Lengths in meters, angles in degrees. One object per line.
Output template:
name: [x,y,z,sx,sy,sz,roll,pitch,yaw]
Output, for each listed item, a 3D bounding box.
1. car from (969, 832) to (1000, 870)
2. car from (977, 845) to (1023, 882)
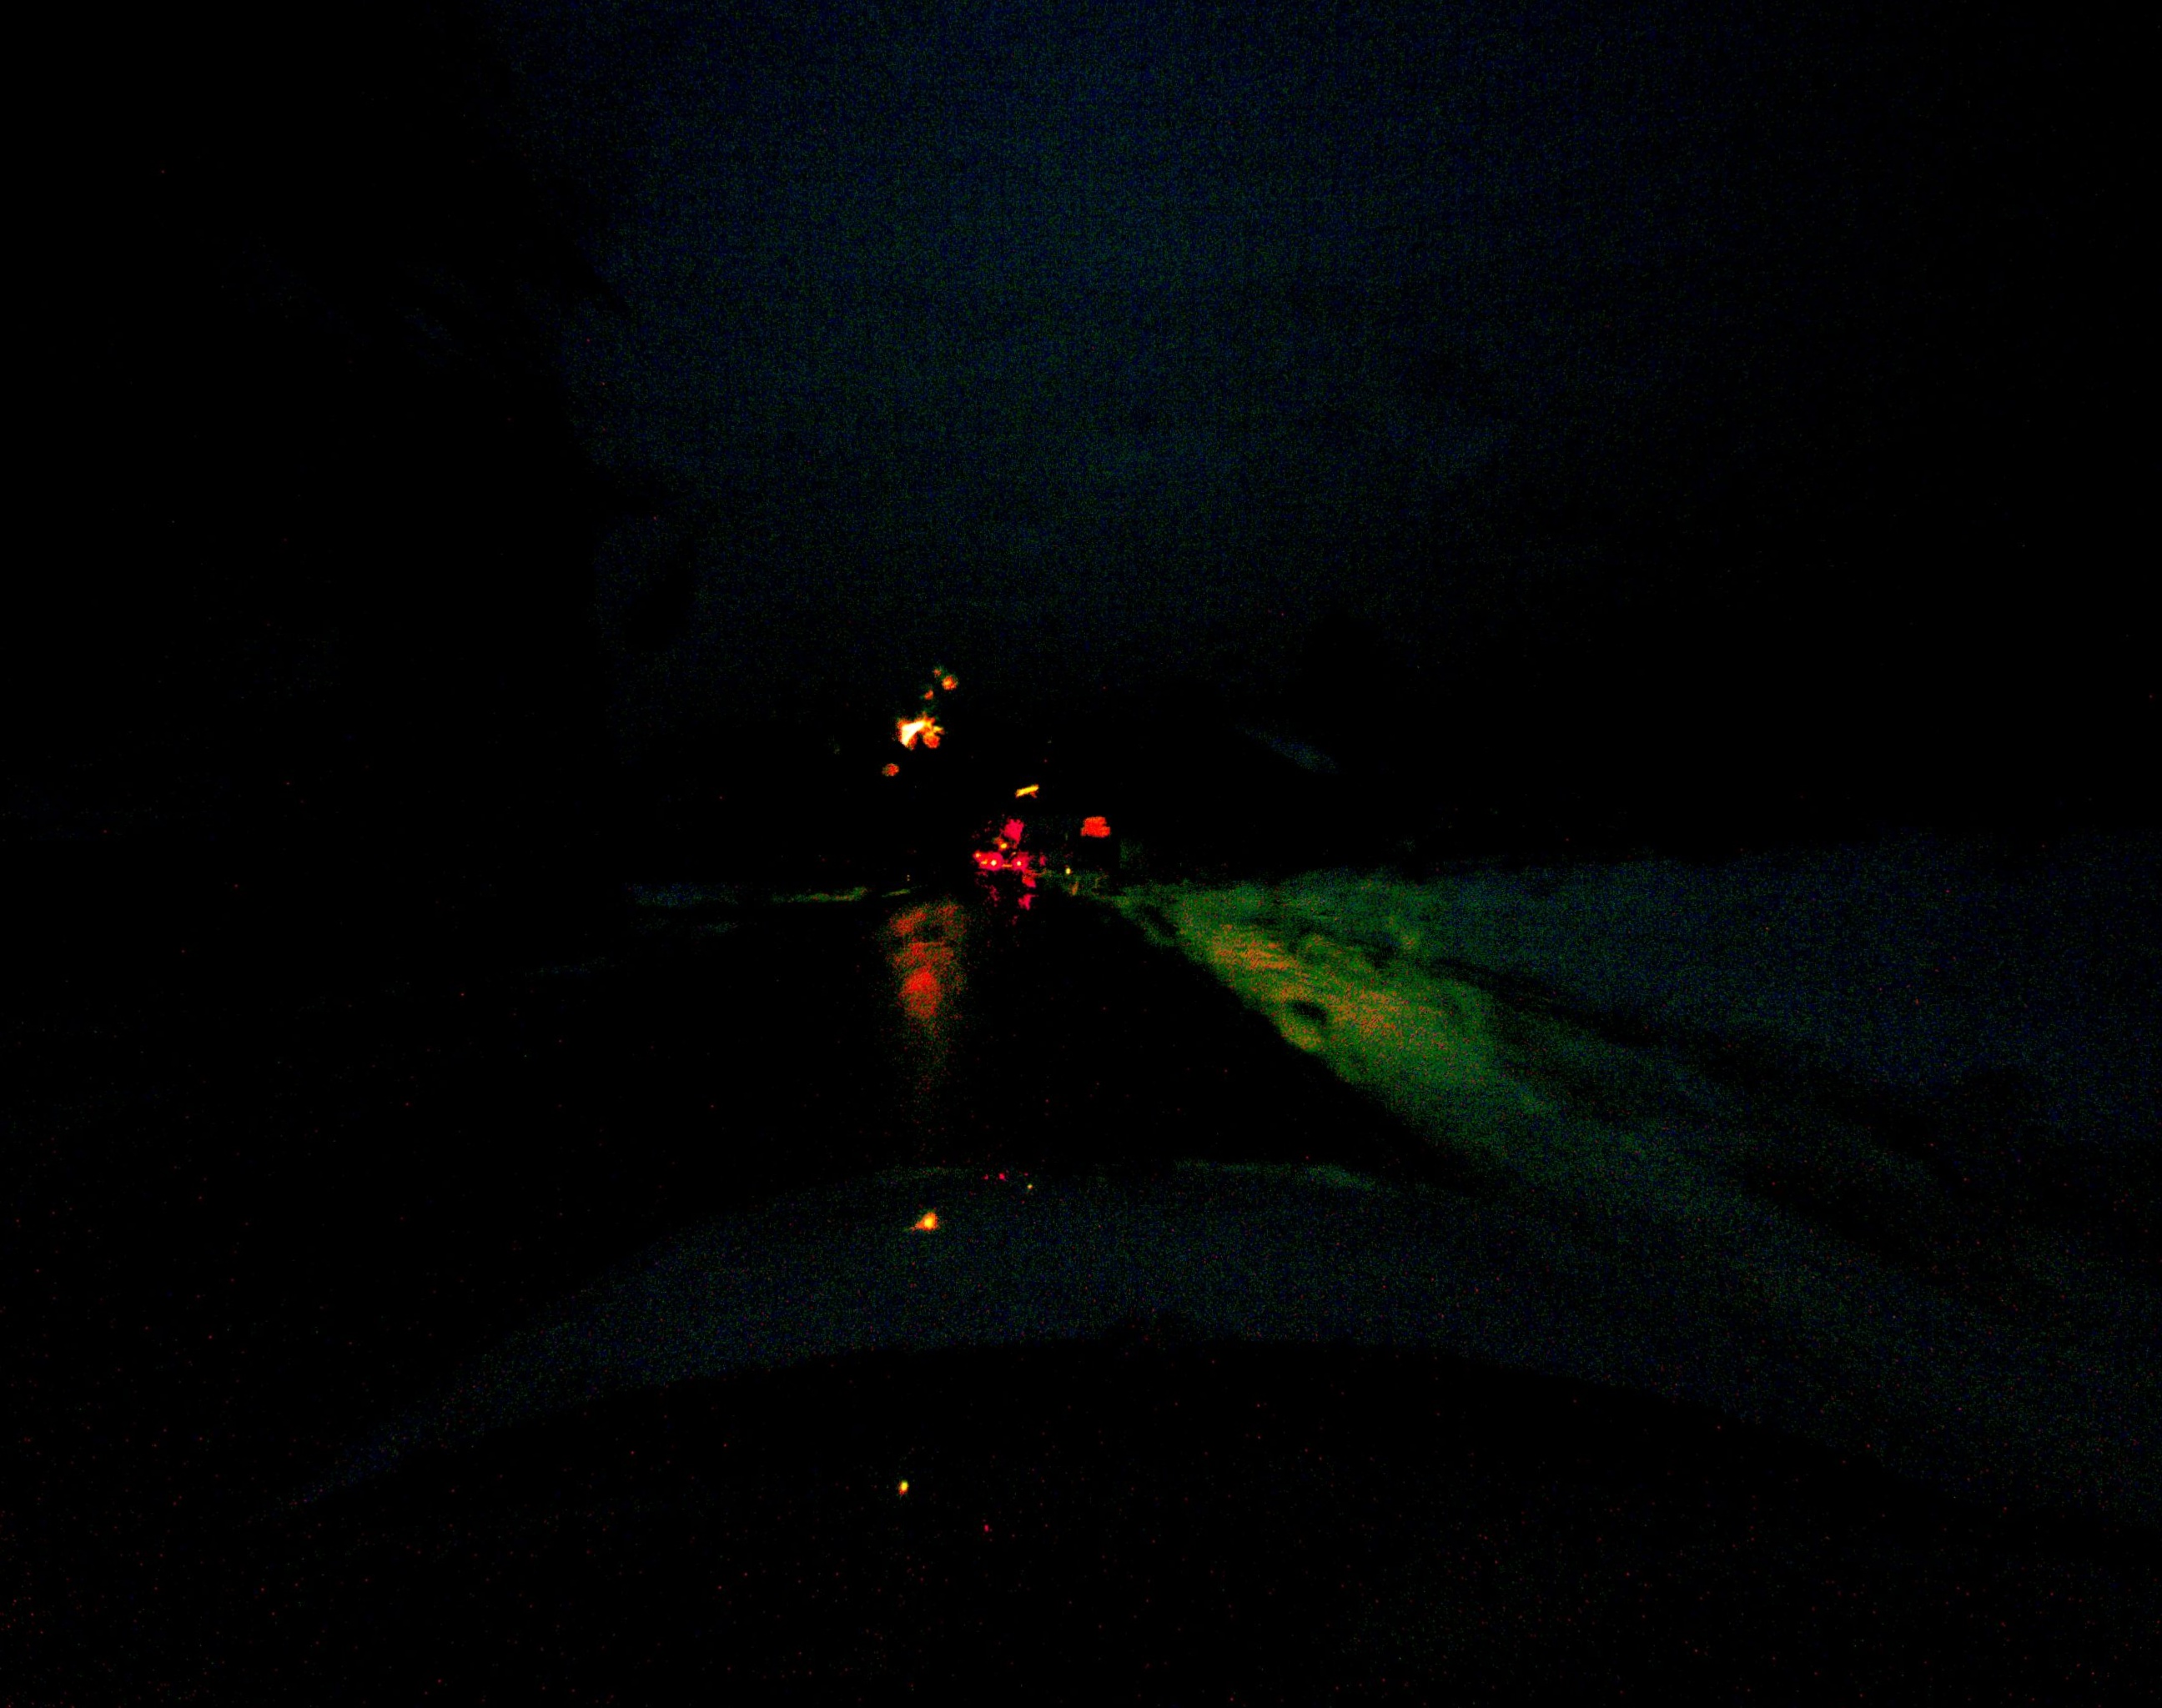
car: [-8.111,-0.220,68.763,2.433,3.019,5.312,-1,-1,-7]
car: [-4.343,0.447,43.369,2.272,1.840,4.995,-1,0,-7]
